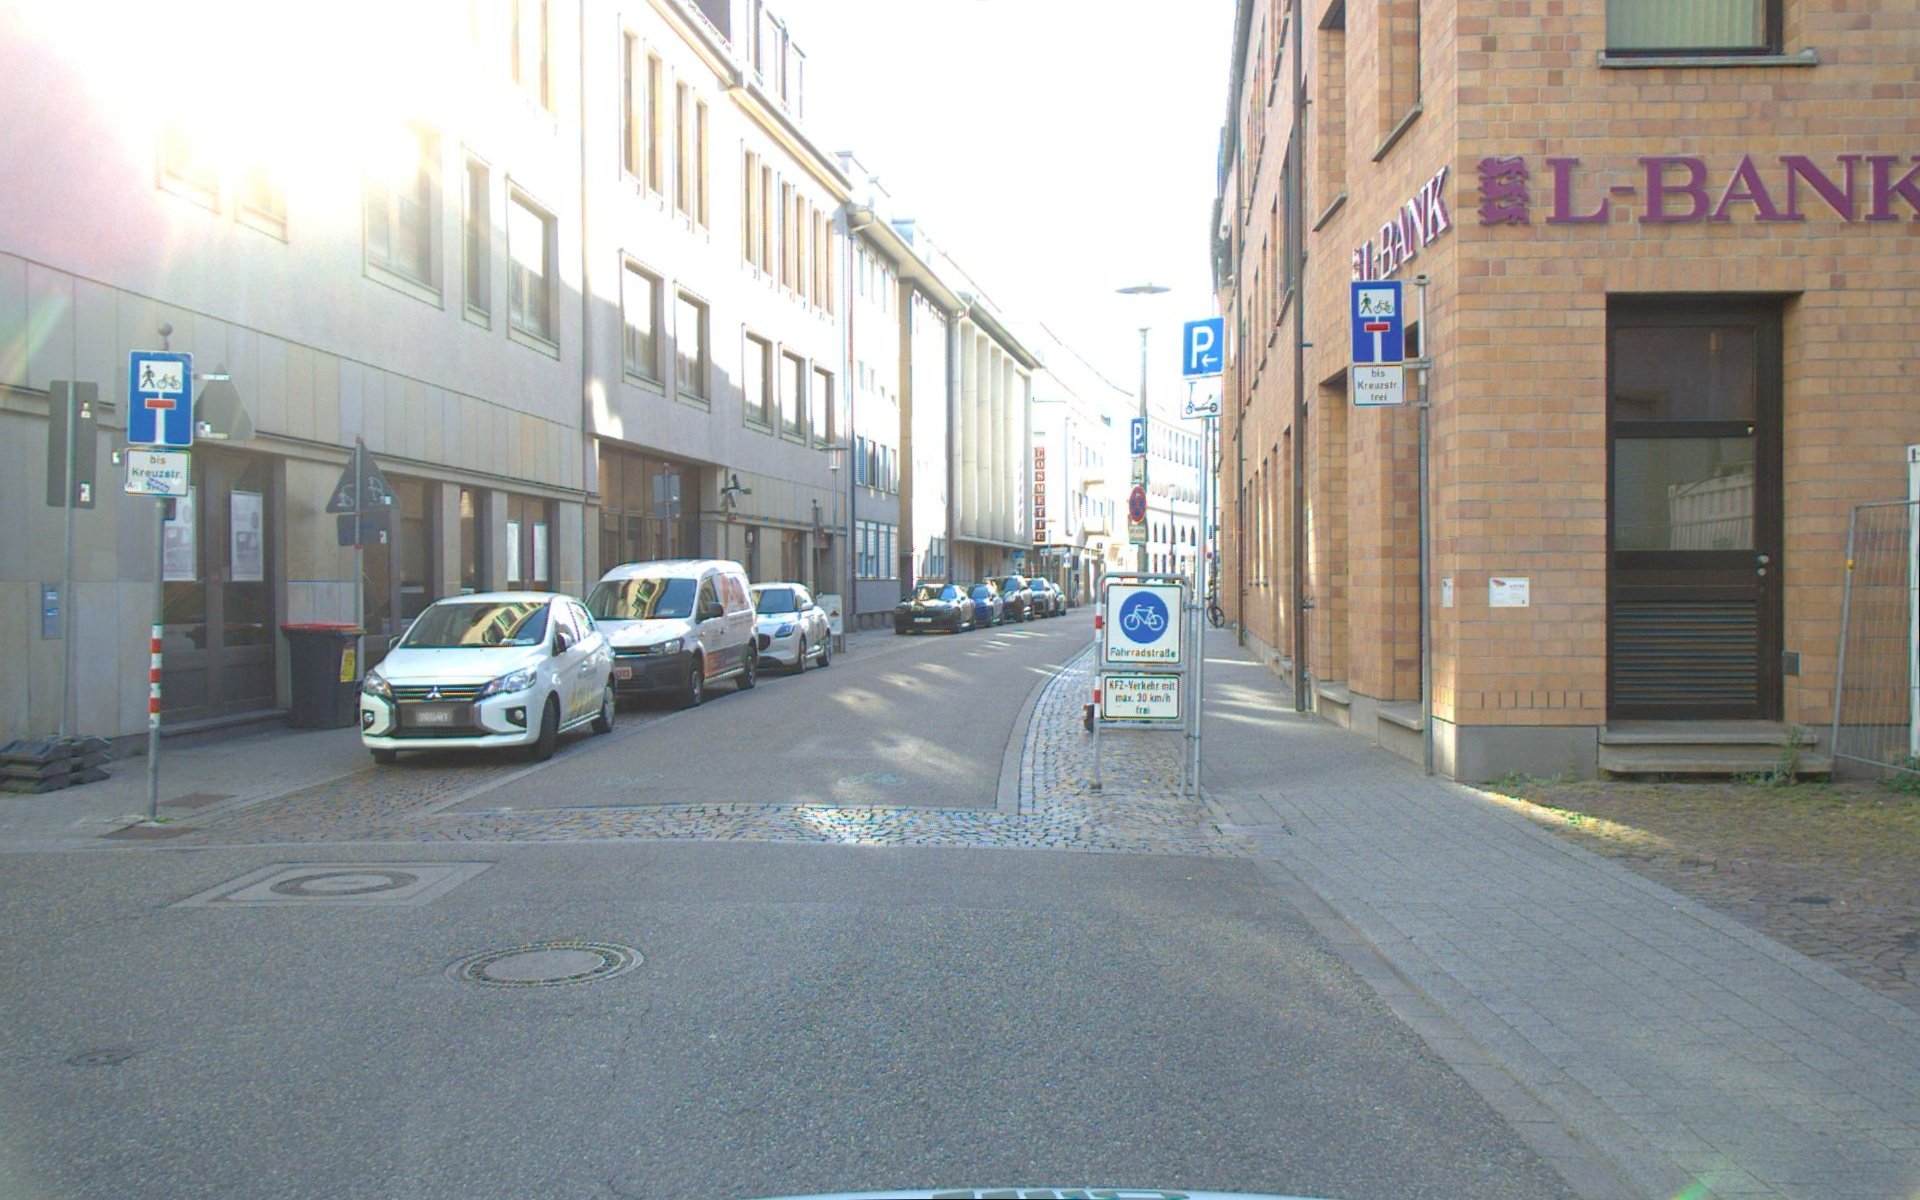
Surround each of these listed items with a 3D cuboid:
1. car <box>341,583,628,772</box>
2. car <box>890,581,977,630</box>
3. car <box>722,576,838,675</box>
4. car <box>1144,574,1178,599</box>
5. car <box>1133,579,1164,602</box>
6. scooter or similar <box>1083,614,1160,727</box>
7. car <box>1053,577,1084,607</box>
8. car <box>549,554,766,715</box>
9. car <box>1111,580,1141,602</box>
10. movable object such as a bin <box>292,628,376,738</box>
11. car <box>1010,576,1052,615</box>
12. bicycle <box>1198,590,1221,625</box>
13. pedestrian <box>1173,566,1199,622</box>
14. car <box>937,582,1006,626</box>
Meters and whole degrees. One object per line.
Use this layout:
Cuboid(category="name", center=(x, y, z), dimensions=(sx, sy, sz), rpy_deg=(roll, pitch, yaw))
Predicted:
Cuboid(category="car", center=(-4.424, 0.639, 15.958), dimensions=(1.636, 1.533, 3.793), rpy_deg=(-2, 1, 0))
Cuboid(category="car", center=(-0.731, 0.129, 48.415), dimensions=(1.841, 1.355, 4.104), rpy_deg=(-1, 1, 9))
Cuboid(category="car", center=(-2.997, 0.379, 28.036), dimensions=(1.244, 1.533, 3.404), rpy_deg=(-2, 1, 6))
Cuboid(category="car", center=(11.766, -0.789, 96.681), dimensions=(1.653, 1.394, 3.621), rpy_deg=(-1, 1, 11))
Cuboid(category="car", center=(11.863, -0.632, 103.990), dimensions=(1.653, 1.394, 3.621), rpy_deg=(-1, 1, 11))
Cuboid(category="scooter or similar", center=(1.707, 0.743, 17.504), dimensions=(0.755, 1.156, 0.269), rpy_deg=(2, 0, 1))
Cuboid(category="car", center=(5.644, -0.417, 85.707), dimensions=(1.310, 1.520, 3.350), rpy_deg=(-1, 1, 9))
Cuboid(category="car", center=(-3.844, 0.373, 21.834), dimensions=(1.635, 1.850, 4.555), rpy_deg=(-2, 1, 5))
Cuboid(category="car", center=(11.082, -0.591, 110.411), dimensions=(1.653, 1.394, 3.621), rpy_deg=(-1, 1, 11))
Cuboid(category="movable object such as a bin", center=(-6.454, 0.850, 17.071), dimensions=(0.596, 1.079, 0.713), rpy_deg=(2, 0, -4))
Cuboid(category="car", center=(2.949, -0.210, 67.937), dimensions=(1.310, 1.520, 3.513), rpy_deg=(-1, 1, 9))
Cuboid(category="bicycle", center=(7.422, 0.206, 49.254), dimensions=(0.500, 1.011, 2.650), rpy_deg=(0, 1, 5))
Cuboid(category="pedestrian", center=(7.234, -0.198, 52.937), dimensions=(0.651, 1.760, 0.839), rpy_deg=(2, 0, -2))
Cuboid(category="car", center=(0.416, 0.103, 54.733), dimensions=(1.687, 1.364, 4.004), rpy_deg=(-1, 1, 9))
